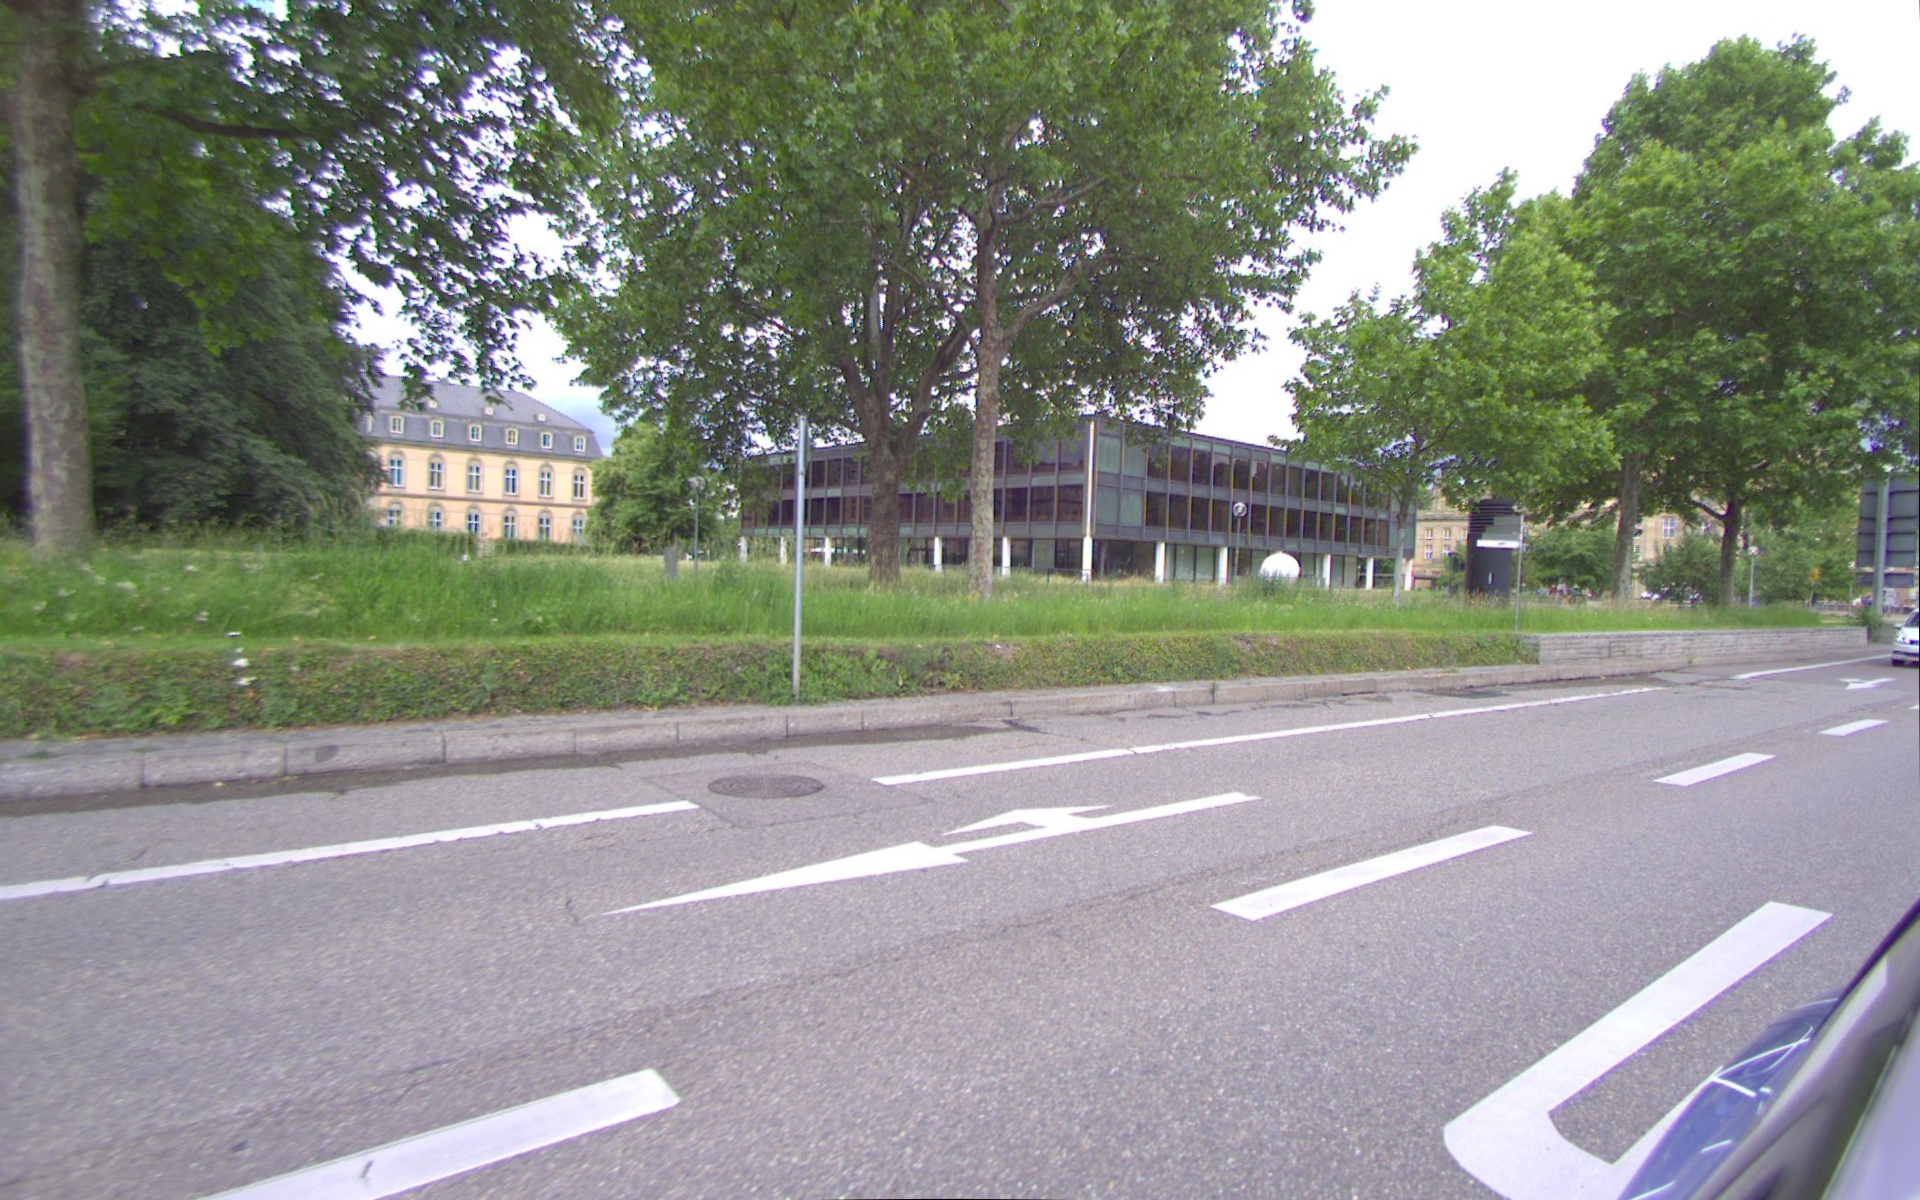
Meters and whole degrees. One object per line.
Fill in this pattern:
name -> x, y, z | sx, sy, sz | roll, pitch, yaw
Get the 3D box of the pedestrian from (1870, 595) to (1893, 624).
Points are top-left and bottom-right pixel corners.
pedestrian -> 54.919, 0.553, 60.328 | 0.614, 1.646, 0.805 | 1, 2, -32

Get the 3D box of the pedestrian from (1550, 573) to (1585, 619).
pedestrian -> 25.048, -0.172, 41.768 | 1.016, 1.859, 0.994 | 0, 0, 18

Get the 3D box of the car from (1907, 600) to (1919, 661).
car -> 27.410, 0.829, 27.628 | 3.927, 1.613, 1.696 | -1, 2, -38
